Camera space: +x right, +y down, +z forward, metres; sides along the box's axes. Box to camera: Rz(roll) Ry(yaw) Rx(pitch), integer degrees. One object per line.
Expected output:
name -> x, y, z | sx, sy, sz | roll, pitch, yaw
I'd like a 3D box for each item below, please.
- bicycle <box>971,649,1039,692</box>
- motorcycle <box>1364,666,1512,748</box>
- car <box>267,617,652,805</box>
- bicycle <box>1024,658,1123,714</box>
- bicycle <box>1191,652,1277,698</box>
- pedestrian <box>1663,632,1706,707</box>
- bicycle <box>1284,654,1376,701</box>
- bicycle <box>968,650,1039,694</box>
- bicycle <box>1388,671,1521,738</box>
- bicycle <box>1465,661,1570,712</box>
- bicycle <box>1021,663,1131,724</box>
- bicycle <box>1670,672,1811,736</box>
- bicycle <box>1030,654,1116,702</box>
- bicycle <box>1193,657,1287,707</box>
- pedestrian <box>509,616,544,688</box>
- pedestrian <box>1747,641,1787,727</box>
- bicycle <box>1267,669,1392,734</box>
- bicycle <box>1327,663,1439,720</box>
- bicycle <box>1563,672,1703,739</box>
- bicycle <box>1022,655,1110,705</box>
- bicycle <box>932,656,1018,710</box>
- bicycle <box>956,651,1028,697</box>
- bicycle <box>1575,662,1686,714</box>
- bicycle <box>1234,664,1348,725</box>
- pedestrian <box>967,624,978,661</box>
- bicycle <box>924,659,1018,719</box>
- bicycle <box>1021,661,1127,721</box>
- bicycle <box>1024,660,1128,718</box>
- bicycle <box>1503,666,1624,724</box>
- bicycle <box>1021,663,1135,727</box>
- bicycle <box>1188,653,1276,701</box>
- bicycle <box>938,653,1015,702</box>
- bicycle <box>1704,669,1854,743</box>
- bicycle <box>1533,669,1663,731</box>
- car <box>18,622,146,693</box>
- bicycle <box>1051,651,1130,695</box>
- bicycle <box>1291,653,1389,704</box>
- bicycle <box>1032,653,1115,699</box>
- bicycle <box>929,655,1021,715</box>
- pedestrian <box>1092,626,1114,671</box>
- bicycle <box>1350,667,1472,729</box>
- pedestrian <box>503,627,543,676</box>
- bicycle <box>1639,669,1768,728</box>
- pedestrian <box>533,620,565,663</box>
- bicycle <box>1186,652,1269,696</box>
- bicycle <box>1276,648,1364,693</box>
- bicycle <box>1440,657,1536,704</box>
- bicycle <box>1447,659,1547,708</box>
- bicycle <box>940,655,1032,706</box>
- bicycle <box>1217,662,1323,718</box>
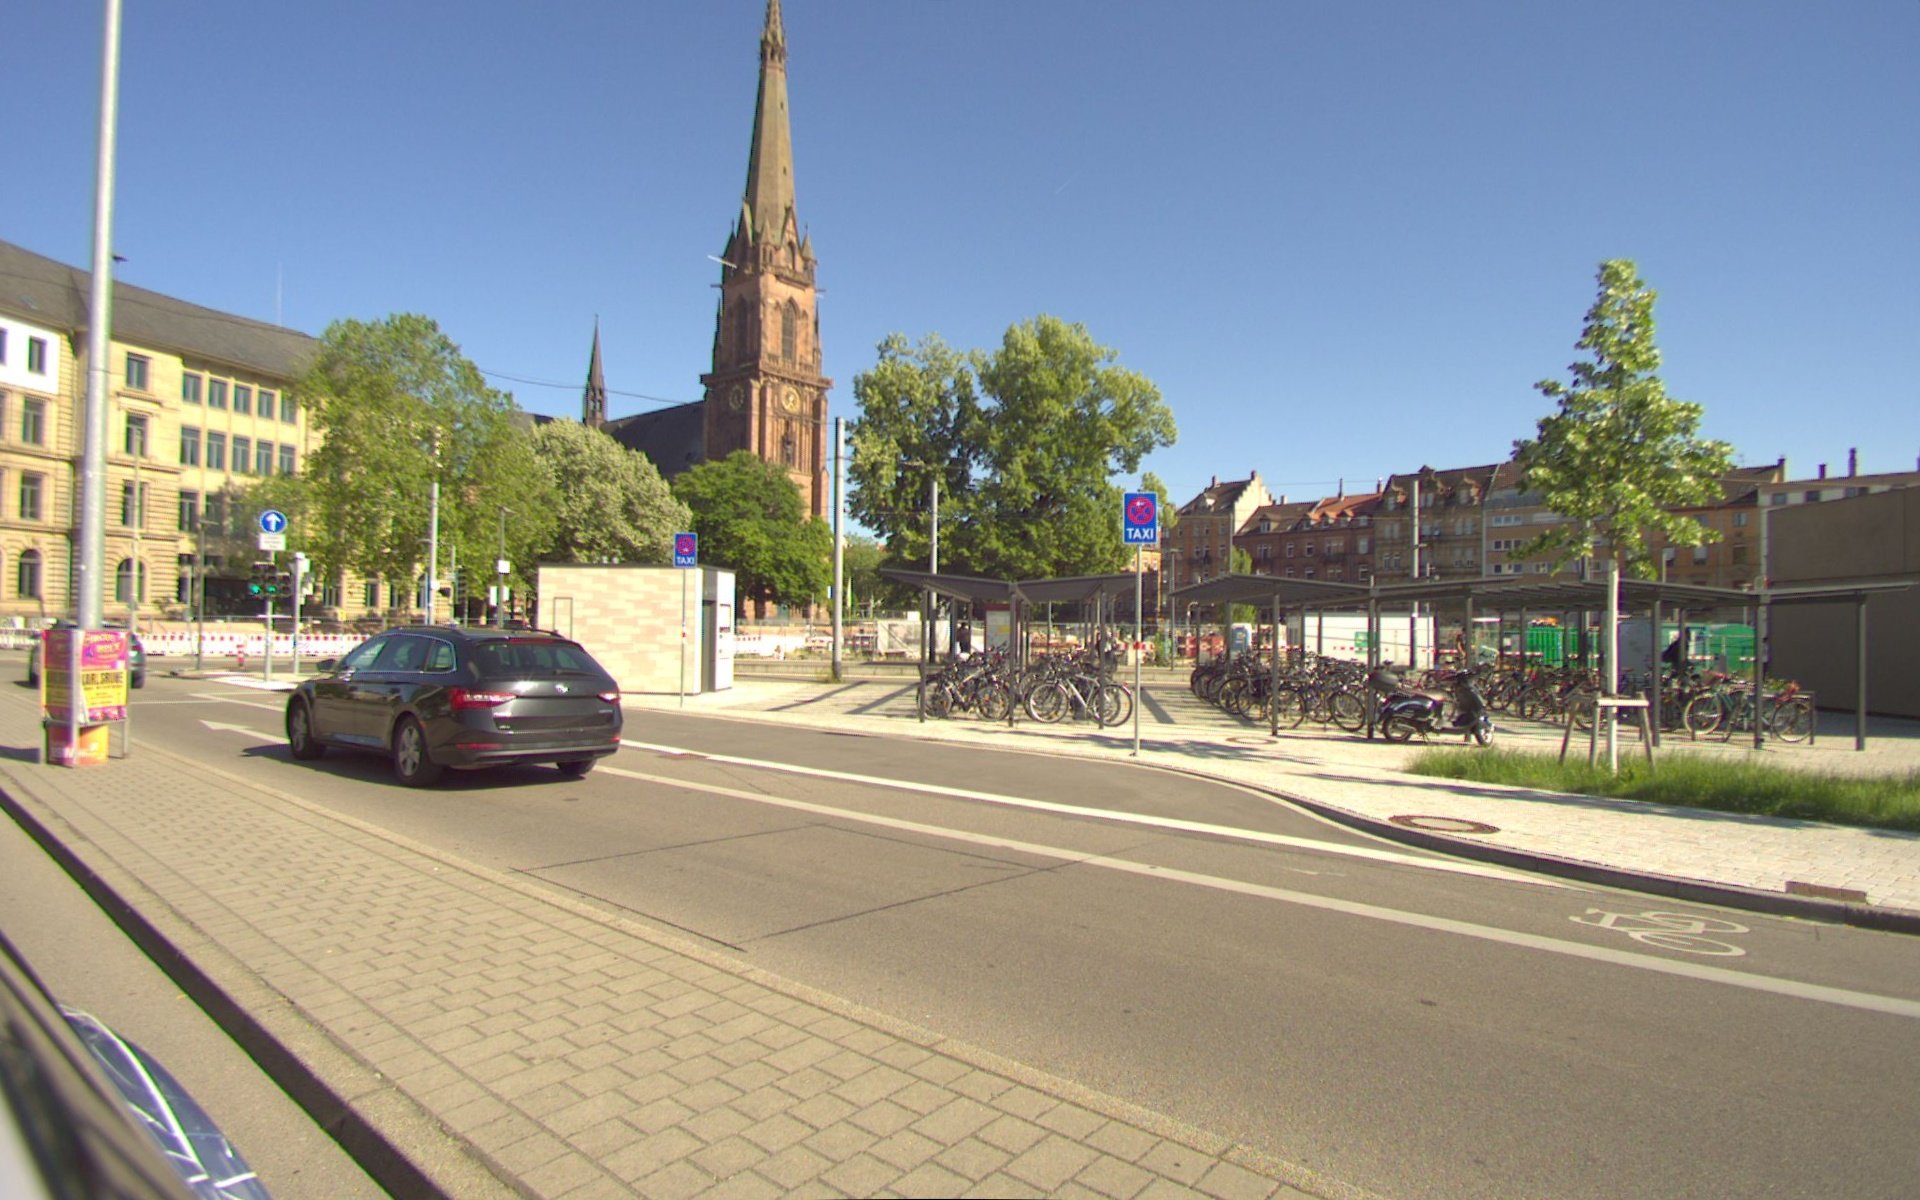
bicycle -> 1.108, 1.727, 24.943 | 1.652, 1.016, 0.456 | 0, -2, 8
motorcycle -> 7.162, 1.600, 15.225 | 1.924, 1.160, 0.516 | 0, -2, 6
car -> -5.255, 0.967, 10.348 | 4.571, 1.511, 1.771 | -1, -3, 39
bicycle -> 2.197, 1.657, 19.585 | 1.882, 1.016, 0.456 | 0, -2, 8
bicycle -> 6.367, 1.729, 23.567 | 1.882, 1.016, 0.456 | 0, -2, 8
pedestrian -> 18.339, 1.744, 25.623 | 0.676, 1.848, 0.564 | 0, -2, 8
bicycle -> 8.317, 1.733, 22.818 | 1.882, 1.016, 0.456 | 0, -2, 8
bicycle -> 1.043, 1.713, 24.226 | 1.652, 1.016, 0.456 | 0, -2, 8
bicycle -> 8.029, 1.689, 16.494 | 1.882, 1.016, 0.456 | 0, -2, 8
bicycle -> 11.715, 1.812, 21.313 | 1.882, 1.016, 0.456 | 0, -2, 8
bicycle -> 2.020, 1.622, 17.674 | 1.882, 1.016, 0.456 | 0, -2, 8
bicycle -> 13.129, 1.741, 17.065 | 1.882, 1.016, 0.456 | 0, -2, 8
bicycle -> 2.512, 1.724, 22.534 | 1.882, 1.016, 0.456 | 0, -2, 8
bicycle -> 5.966, 1.745, 21.609 | 1.882, 1.016, 0.456 | 0, -2, 8
pedestrian -> -11.556, 1.371, 26.990 | 0.683, 1.868, 0.680 | 2, -2, -38
pedestrian -> 19.635, 2.029, 24.615 | 0.718, 2.029, 0.678 | -1, -4, 41
bicycle -> 6.122, 1.680, 16.840 | 1.882, 1.016, 0.456 | 0, -2, 8
bicycle -> 7.919, 1.710, 18.996 | 1.882, 1.016, 0.456 | 0, -2, 8
bicycle -> 10.973, 1.715, 16.537 | 1.882, 1.016, 0.456 | 0, -2, 8
bicycle -> 2.298, 1.720, 21.921 | 1.882, 1.016, 0.456 | 0, -2, 8
bicycle -> 0.306, 1.618, 19.888 | 1.652, 1.016, 0.456 | 0, -2, 8
bicycle -> 0.747, 1.707, 23.482 | 1.652, 1.016, 0.456 | 0, -2, 8
bicycle -> 13.875, 1.816, 20.971 | 1.882, 1.016, 0.456 | 0, -2, 8
bicycle -> 5.901, 1.681, 18.093 | 1.882, 1.016, 0.456 | 0, -2, 8
pedestrian -> 0.588, 1.992, 47.616 | 0.399, 1.734, 0.419 | 1, -2, -11
bicycle -> 0.202, 1.583, 18.191 | 1.652, 1.016, 0.456 | 0, -2, 8
bicycle -> 2.055, 1.631, 18.261 | 1.882, 1.016, 0.456 | 0, -2, 8
bicycle -> 2.138, 1.643, 18.744 | 1.882, 1.016, 0.456 | 0, -2, 8
bicycle -> 11.165, 1.754, 18.757 | 1.882, 1.016, 0.456 | 0, -2, 8
bicycle -> 1.990, 1.600, 17.114 | 1.882, 1.016, 0.456 | 0, -2, 8
bicycle -> 6.150, 1.736, 22.943 | 1.882, 1.016, 0.456 | 0, -2, 8
bicycle -> 0.372, 1.688, 22.225 | 1.652, 1.016, 0.456 | 0, -2, 8
bicycle -> 13.083, 1.682, 16.206 | 1.882, 1.106, 0.456 | 0, -2, 8
bicycle -> 11.102, 1.730, 17.642 | 1.882, 1.016, 0.456 | 0, -2, 8
car -> -20.925, 1.323, 24.062 | 4.241, 1.554, 1.835 | -1, -4, 44
bicycle -> 3.163, 1.774, 24.599 | 1.882, 1.016, 0.456 | 0, -2, 8
bicycle -> 8.058, 1.658, 21.519 | 1.882, 1.016, 0.456 | 0, -2, 8
bicycle -> 2.607, 1.745, 23.304 | 1.882, 1.016, 0.456 | 0, -2, 8
bicycle -> 0.281, 1.569, 18.777 | 1.652, 1.069, 0.456 | 0, -2, 8
pedestrian -> 5.796, 1.945, 40.925 | 0.792, 1.793, 0.977 | 0, -2, 3
bicycle -> 7.895, 1.707, 17.763 | 1.882, 1.016, 0.456 | 0, -2, 8
pedestrian -> -16.429, 1.909, 38.026 | 1.130, 1.793, 0.965 | -1, -2, 40
bicycle -> 13.470, 1.774, 18.364 | 1.882, 1.016, 0.456 | 0, -2, 8
pedestrian -> -17.315, 1.727, 42.614 | 0.802, 1.793, 0.965 | -1, -2, 40
bicycle -> 6.395, 1.760, 24.225 | 1.882, 1.016, 0.456 | 0, -2, 8
bicycle -> 8.488, 1.650, 23.910 | 1.882, 1.016, 0.456 | 0, -2, 8
bicycle -> 12.080, 1.834, 23.194 | 1.882, 1.016, 0.456 | 0, -2, 8
bicycle -> 11.785, 1.822, 22.243 | 1.882, 1.016, 0.456 | 0, -2, 8
bicycle -> 0.544, 1.673, 21.227 | 1.882, 1.016, 0.456 | 0, -2, 8
bicycle -> 5.899, 1.706, 19.323 | 1.882, 1.016, 0.456 | 0, -2, 8
